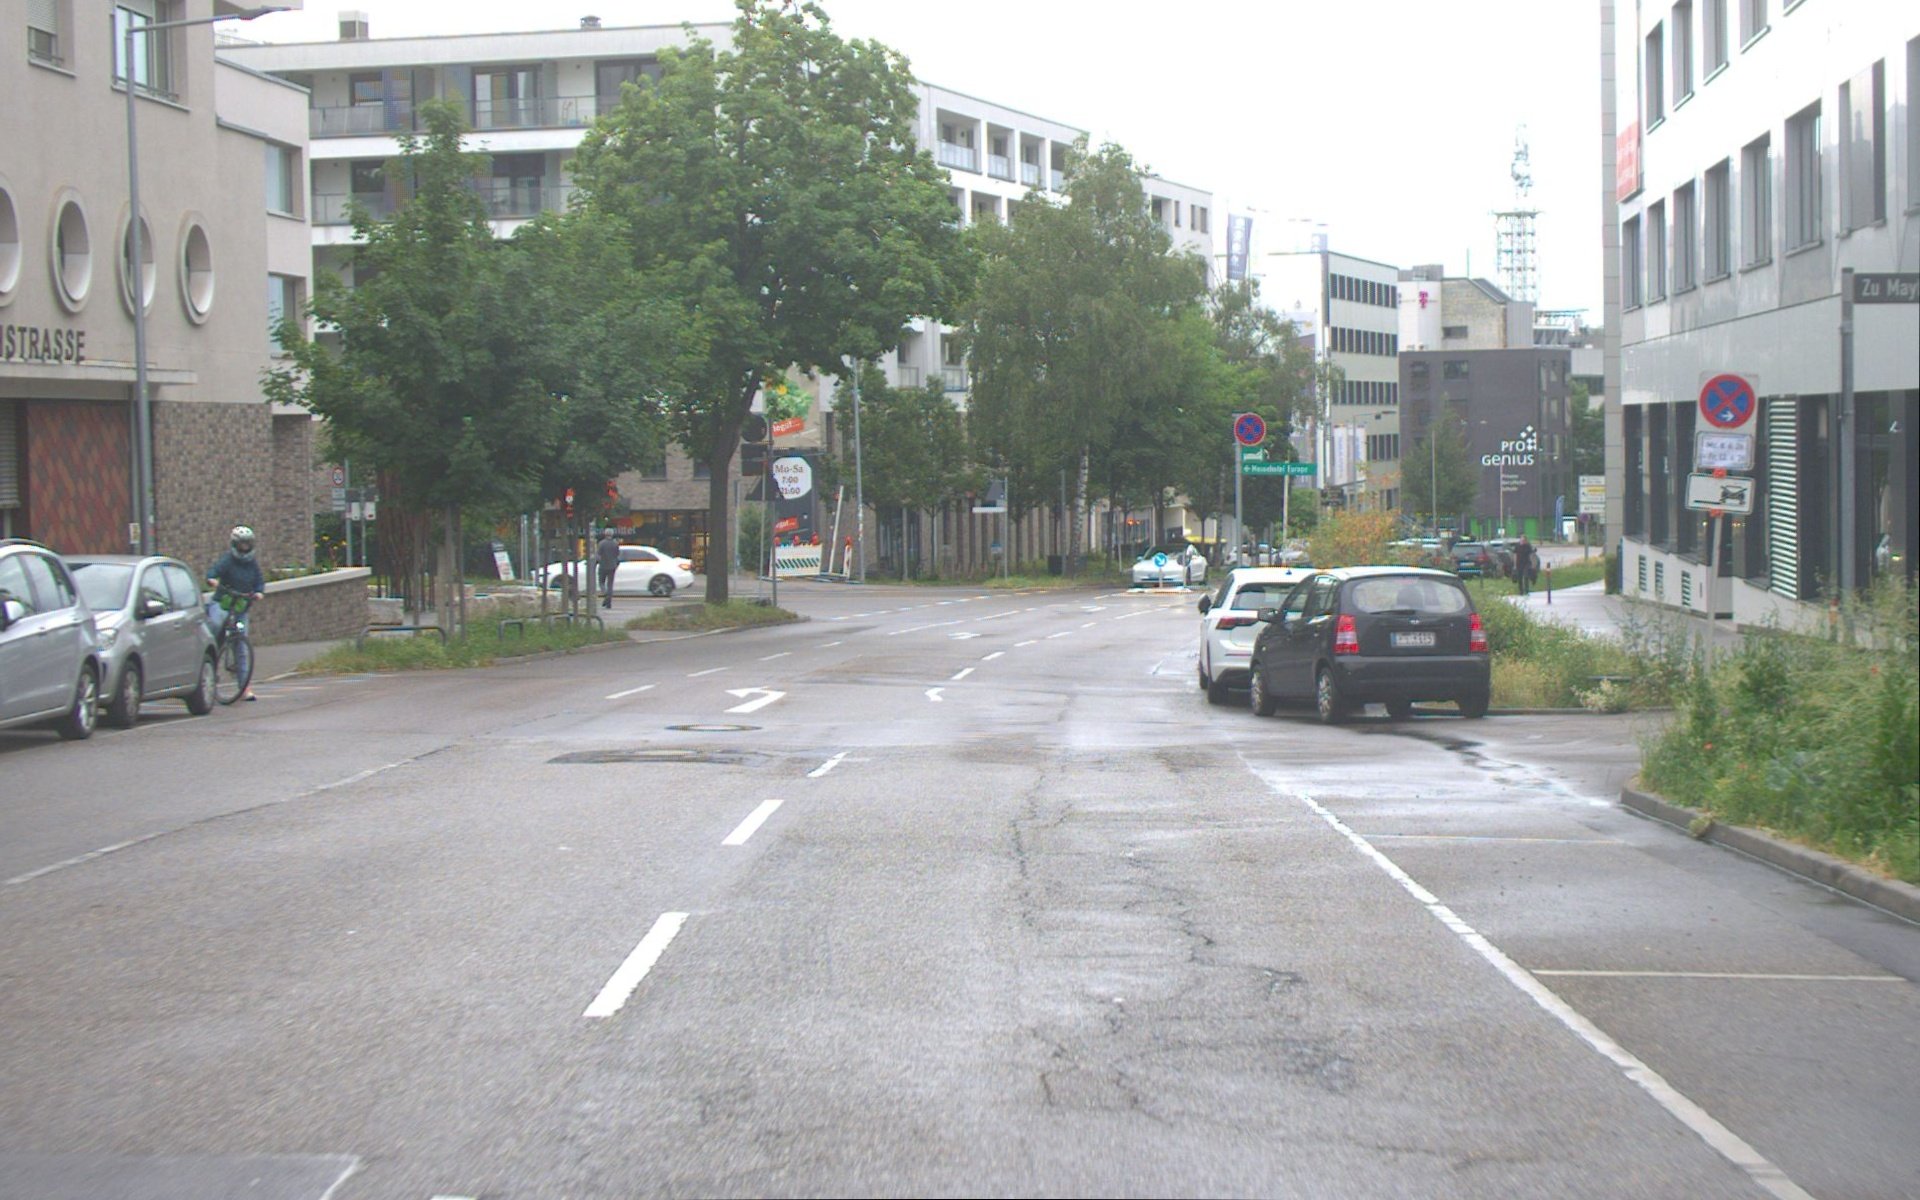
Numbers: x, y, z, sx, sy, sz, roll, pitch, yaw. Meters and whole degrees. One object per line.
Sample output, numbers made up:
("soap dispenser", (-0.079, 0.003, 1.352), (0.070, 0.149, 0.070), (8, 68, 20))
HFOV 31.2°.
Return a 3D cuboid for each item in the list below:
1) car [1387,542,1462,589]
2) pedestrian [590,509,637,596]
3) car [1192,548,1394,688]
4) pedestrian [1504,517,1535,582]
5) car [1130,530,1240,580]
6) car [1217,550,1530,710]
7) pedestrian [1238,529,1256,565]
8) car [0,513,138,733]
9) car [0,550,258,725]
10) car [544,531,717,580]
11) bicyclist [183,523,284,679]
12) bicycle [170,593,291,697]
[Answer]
("car", (15.364, -1.138, 113.524), (1.809, 1.479, 4.492), (1, 1, 16))
("pedestrian", (-8.124, -1.107, 80.655), (1.055, 2.007, 1.100), (1, 0, -5))
("car", (3.710, 0.157, 39.000), (2.039, 1.459, 4.502), (1, 1, 3))
("pedestrian", (15.489, -1.391, 95.109), (0.823, 1.790, 1.207), (0, 0, 10))
("car", (7.573, -1.518, 115.436), (2.060, 1.655, 4.814), (1, 1, 25))
("car", (4.022, 0.255, 34.144), (2.043, 1.453, 4.056), (1, 1, -9))
("pedestrian", (13.347, -2.472, 159.693), (0.709, 1.677, 0.956), (0, 1, 12))
("car", (-7.868, 0.144, 26.143), (1.990, 1.587, 4.489), (1, 1, 2))
("car", (-7.724, 0.293, 30.832), (1.879, 1.458, 3.847), (1, 1, 3))
("car", (-9.289, -1.245, 96.645), (4.686, 1.288, 2.001), (1, 1, -10))
("bicyclist", (-7.236, 0.003, 34.283), (0.801, 1.517, 1.202), (1, 0, -3))
("bicycle", (-7.240, 0.431, 34.211), (0.801, 0.975, 2.255), (1, 1, -3))
